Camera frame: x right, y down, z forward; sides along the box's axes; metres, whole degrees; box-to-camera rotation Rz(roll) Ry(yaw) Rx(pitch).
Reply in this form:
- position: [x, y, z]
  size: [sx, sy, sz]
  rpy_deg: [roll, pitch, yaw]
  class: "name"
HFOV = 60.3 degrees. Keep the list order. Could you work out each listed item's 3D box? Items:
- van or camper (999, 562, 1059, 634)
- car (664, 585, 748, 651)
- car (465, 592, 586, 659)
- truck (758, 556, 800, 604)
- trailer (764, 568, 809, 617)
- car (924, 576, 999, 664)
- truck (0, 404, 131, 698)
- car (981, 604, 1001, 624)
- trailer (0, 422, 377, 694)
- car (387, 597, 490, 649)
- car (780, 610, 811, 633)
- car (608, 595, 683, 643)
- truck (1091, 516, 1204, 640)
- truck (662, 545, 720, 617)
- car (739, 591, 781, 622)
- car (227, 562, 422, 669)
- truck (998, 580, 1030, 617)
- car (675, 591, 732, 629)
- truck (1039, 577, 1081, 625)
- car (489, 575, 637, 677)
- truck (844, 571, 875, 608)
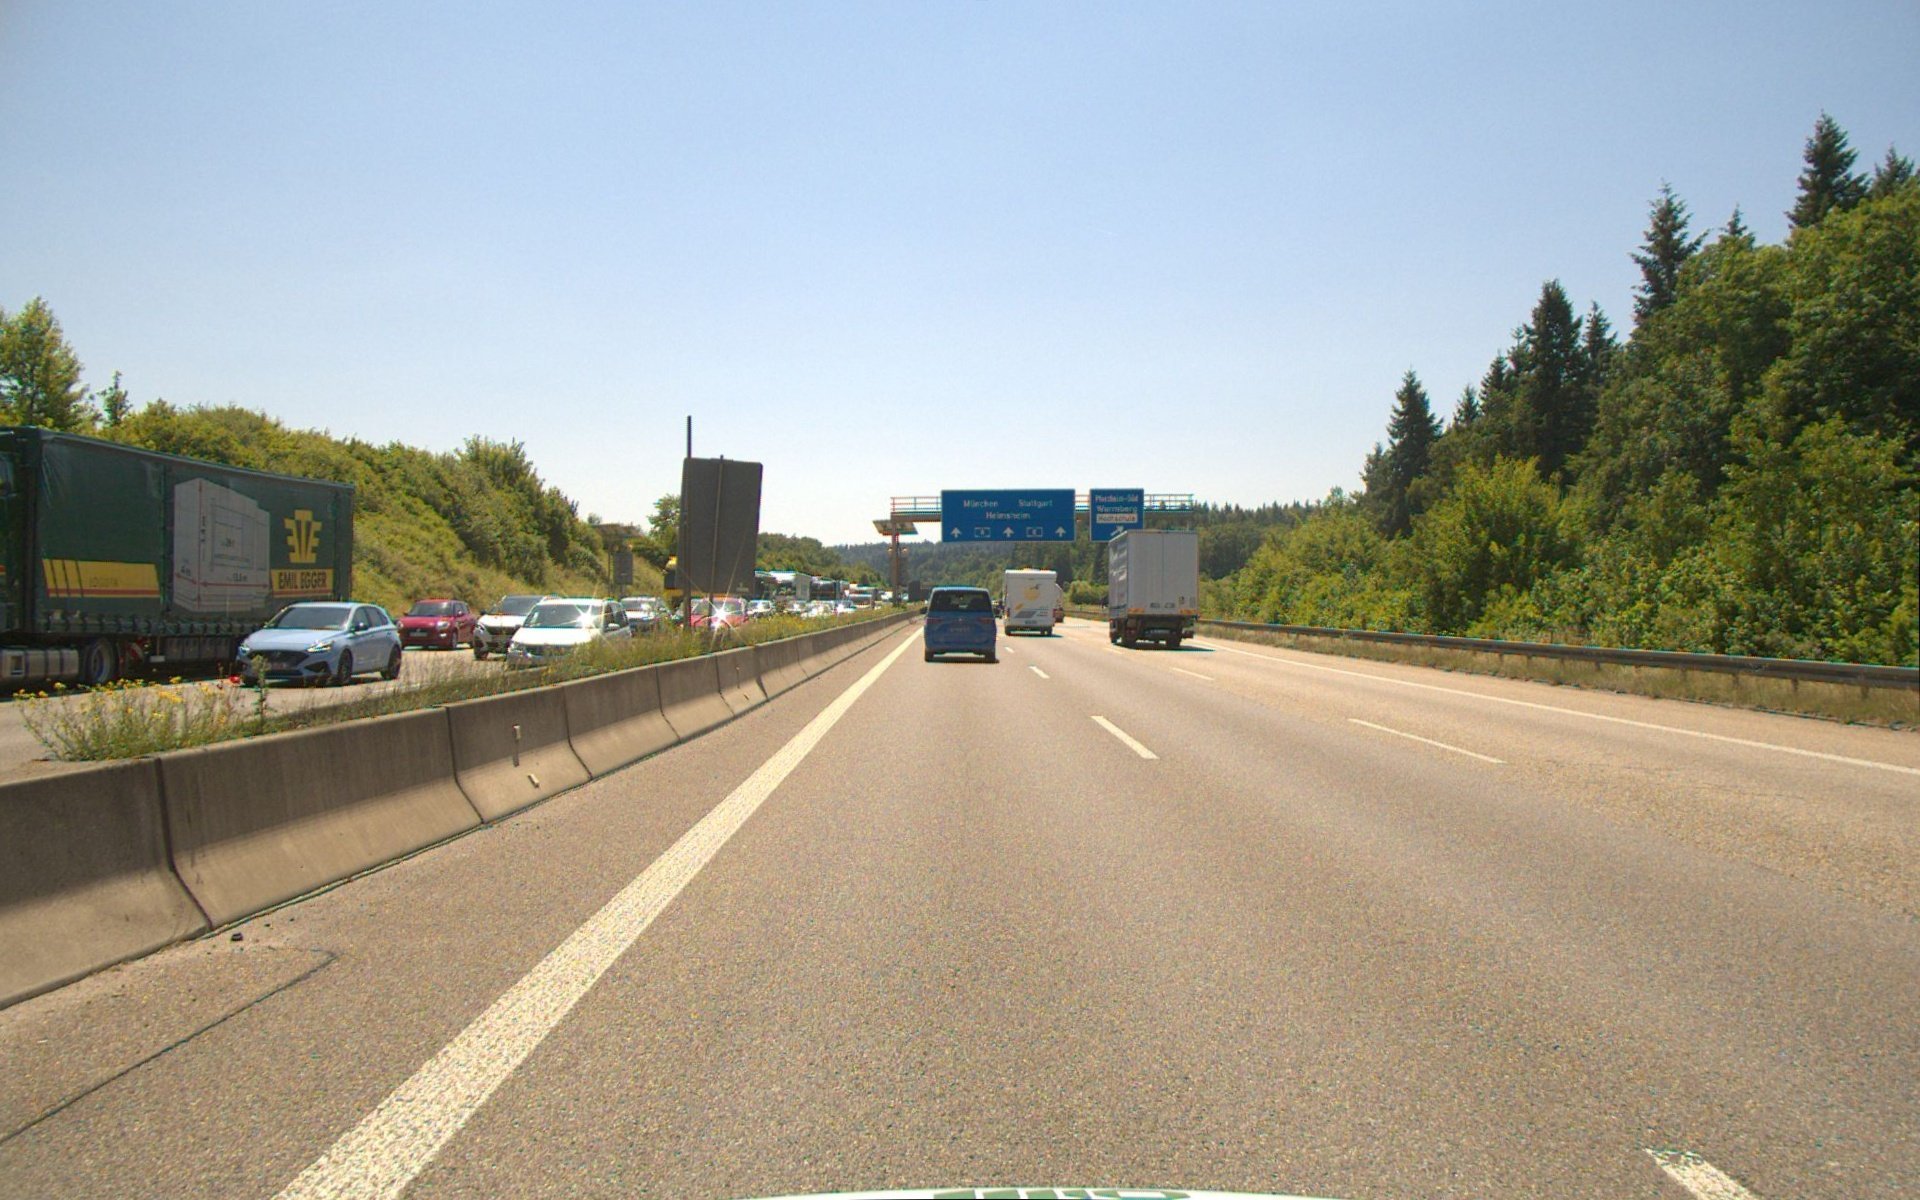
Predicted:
- position: [3.251, -0.174, 79.685]
  size: [2.550, 3.132, 7.183]
  rpy_deg: [1, 2, 0]
  class: "van or camper"
- position: [-7.302, 0.515, 47.961]
  size: [1.791, 1.795, 4.989]
  rpy_deg: [1, -1, -2]
  class: "car"
- position: [-11.439, 0.659, 43.898]
  size: [1.774, 1.657, 5.218]
  rpy_deg: [1, -1, 0]
  class: "car"
- position: [-16.175, -1.729, 148.345]
  size: [2.723, 4.186, 7.031]
  rpy_deg: [0, -1, 2]
  class: "truck"
- position: [-16.053, -0.634, 153.732]
  size: [2.724, 4.380, 11.711]
  rpy_deg: [0, -1, 1]
  class: "trailer"
- position: [0.021, 0.471, 43.677]
  size: [1.870, 2.048, 4.001]
  rpy_deg: [-1, 3, -1]
  class: "car"
- position: [-15.361, -0.720, 24.954]
  size: [2.761, 4.277, 5.629]
  rpy_deg: [1, -1, 0]
  class: "truck"
- position: [2.998, 1.331, 159.487]
  size: [1.781, 1.825, 3.894]
  rpy_deg: [1, -1, 0]
  class: "car"
- position: [-15.302, -0.628, 32.974]
  size: [2.784, 4.336, 12.785]
  rpy_deg: [1, -1, 0]
  class: "trailer"
- position: [-15.731, 0.691, 50.070]
  size: [1.774, 1.492, 4.122]
  rpy_deg: [1, -1, 0]
  class: "car"
- position: [-11.782, 1.534, 118.767]
  size: [1.739, 1.641, 4.558]
  rpy_deg: [1, -1, 0]
  class: "car"
- position: [-11.454, 0.675, 60.530]
  size: [1.774, 1.657, 4.908]
  rpy_deg: [1, -1, 0]
  class: "car"
- position: [6.827, -0.710, 61.690]
  size: [2.727, 4.201, 9.735]
  rpy_deg: [1, -1, -2]
  class: "truck"
- position: [-15.933, -1.064, 98.255]
  size: [2.550, 4.136, 6.130]
  rpy_deg: [1, -1, -2]
  class: "truck"
- position: [-12.126, 0.404, 100.700]
  size: [1.824, 1.783, 5.901]
  rpy_deg: [1, -1, 0]
  class: "car"
- position: [-11.629, 0.290, 30.655]
  size: [1.791, 1.795, 4.989]
  rpy_deg: [1, -1, -2]
  class: "car"
- position: [6.421, -0.173, 197.307]
  size: [3.416, 4.243, 8.641]
  rpy_deg: [1, -1, 0]
  class: "truck"
- position: [-11.759, 0.474, 76.149]
  size: [1.774, 1.657, 5.381]
  rpy_deg: [1, -1, 0]
  class: "car"
- position: [8.036, 0.021, 133.507]
  size: [2.868, 3.637, 8.527]
  rpy_deg: [-1, 1, 0]
  class: "truck"
- position: [-7.612, 0.491, 32.223]
  size: [1.791, 1.795, 4.989]
  rpy_deg: [1, -1, -2]
  class: "car"
- position: [-8.225, -0.811, 136.035]
  size: [2.077, 2.891, 6.212]
  rpy_deg: [1, -1, 0]
  class: "truck"
